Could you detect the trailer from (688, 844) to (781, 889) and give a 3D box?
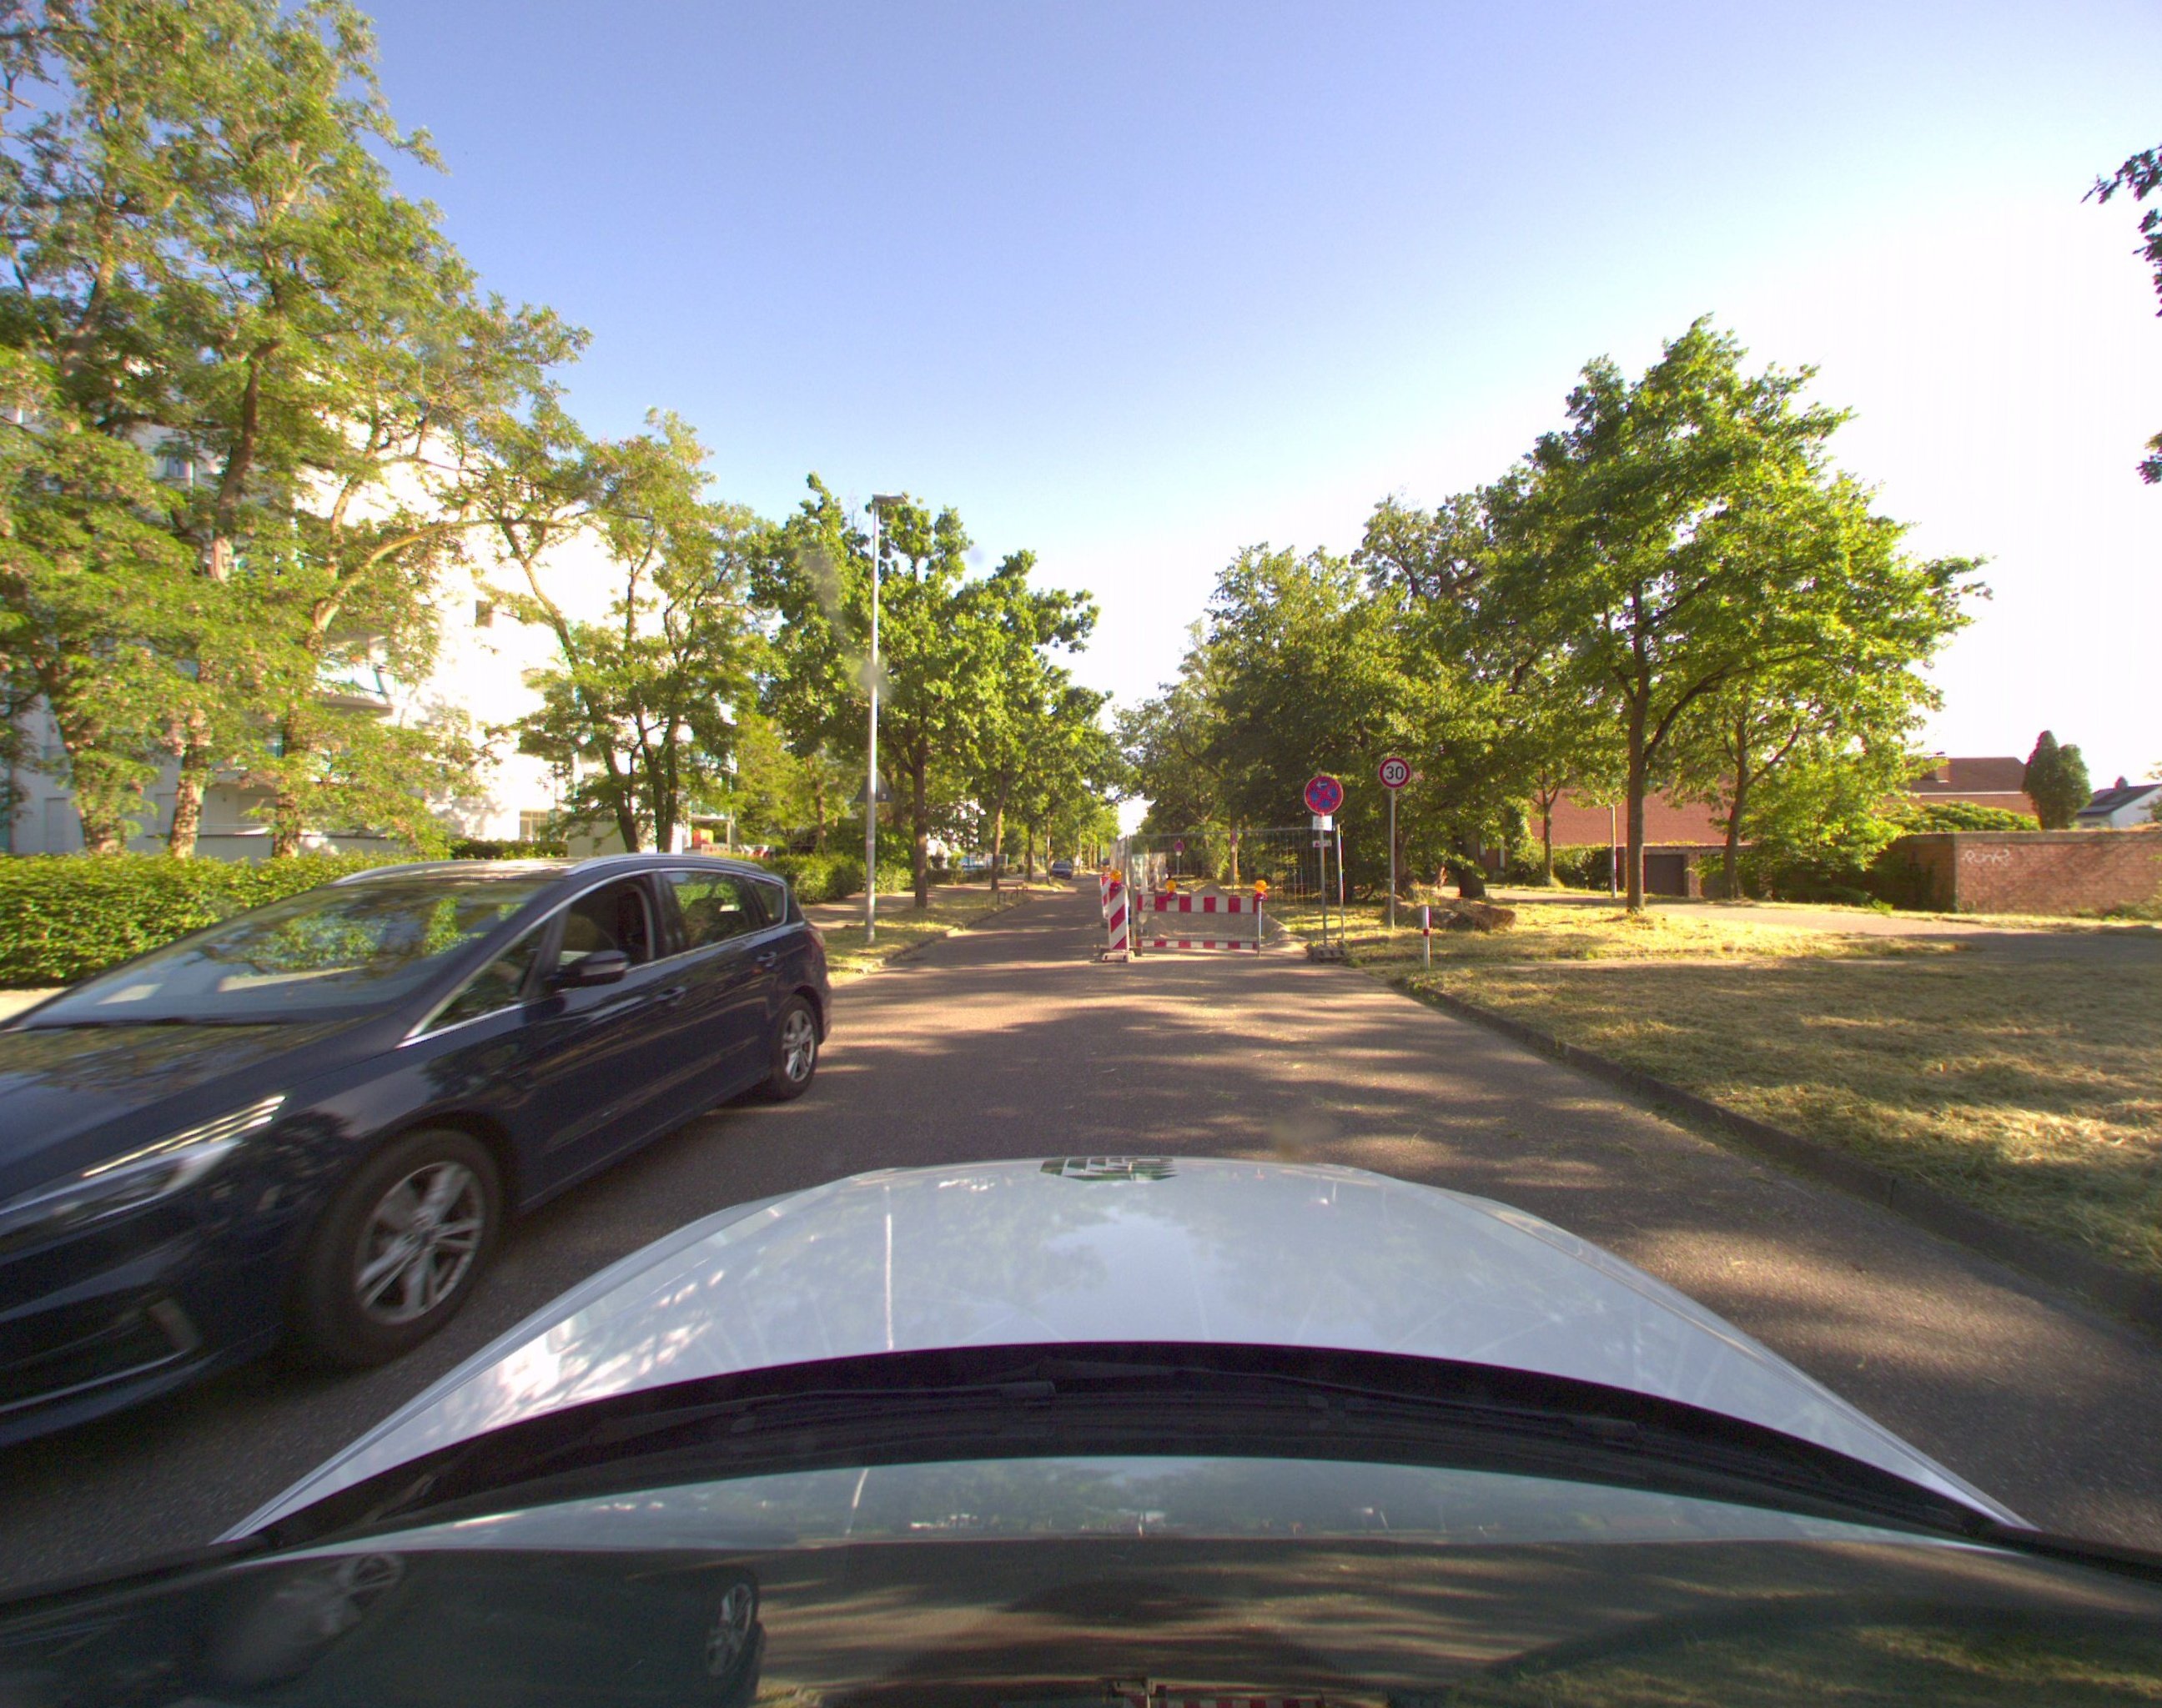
[{"bbox_3d":[-16.467,0.584,38.945,1.964,2.043,4.442,-1,0,10],"label":"trailer"}]

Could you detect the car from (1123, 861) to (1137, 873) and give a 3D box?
[{"bbox_3d":[5.388,1.497,90.323,1.356,1.302,3.481,1,-1,1],"label":"car"}]

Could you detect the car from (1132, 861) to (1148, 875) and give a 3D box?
[{"bbox_3d":[5.577,1.363,77.330,1.356,1.302,3.481,1,-1,1],"label":"car"}]

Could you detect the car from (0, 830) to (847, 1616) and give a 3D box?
[{"bbox_3d":[-2.924,0.811,4.004,1.812,1.625,4.499,-2,-1,6],"label":"car"}]

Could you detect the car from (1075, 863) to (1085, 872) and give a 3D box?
[{"bbox_3d":[-0.114,1.944,114.848,1.356,1.302,3.481,1,-1,1],"label":"car"}]

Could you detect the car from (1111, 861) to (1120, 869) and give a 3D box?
[{"bbox_3d":[7.401,2.310,174.632,1.705,1.585,3.998,1,-1,-1],"label":"car"}]

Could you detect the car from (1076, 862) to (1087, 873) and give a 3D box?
[{"bbox_3d":[0.084,1.697,103.098,1.356,1.302,3.481,1,-1,1],"label":"car"}]
